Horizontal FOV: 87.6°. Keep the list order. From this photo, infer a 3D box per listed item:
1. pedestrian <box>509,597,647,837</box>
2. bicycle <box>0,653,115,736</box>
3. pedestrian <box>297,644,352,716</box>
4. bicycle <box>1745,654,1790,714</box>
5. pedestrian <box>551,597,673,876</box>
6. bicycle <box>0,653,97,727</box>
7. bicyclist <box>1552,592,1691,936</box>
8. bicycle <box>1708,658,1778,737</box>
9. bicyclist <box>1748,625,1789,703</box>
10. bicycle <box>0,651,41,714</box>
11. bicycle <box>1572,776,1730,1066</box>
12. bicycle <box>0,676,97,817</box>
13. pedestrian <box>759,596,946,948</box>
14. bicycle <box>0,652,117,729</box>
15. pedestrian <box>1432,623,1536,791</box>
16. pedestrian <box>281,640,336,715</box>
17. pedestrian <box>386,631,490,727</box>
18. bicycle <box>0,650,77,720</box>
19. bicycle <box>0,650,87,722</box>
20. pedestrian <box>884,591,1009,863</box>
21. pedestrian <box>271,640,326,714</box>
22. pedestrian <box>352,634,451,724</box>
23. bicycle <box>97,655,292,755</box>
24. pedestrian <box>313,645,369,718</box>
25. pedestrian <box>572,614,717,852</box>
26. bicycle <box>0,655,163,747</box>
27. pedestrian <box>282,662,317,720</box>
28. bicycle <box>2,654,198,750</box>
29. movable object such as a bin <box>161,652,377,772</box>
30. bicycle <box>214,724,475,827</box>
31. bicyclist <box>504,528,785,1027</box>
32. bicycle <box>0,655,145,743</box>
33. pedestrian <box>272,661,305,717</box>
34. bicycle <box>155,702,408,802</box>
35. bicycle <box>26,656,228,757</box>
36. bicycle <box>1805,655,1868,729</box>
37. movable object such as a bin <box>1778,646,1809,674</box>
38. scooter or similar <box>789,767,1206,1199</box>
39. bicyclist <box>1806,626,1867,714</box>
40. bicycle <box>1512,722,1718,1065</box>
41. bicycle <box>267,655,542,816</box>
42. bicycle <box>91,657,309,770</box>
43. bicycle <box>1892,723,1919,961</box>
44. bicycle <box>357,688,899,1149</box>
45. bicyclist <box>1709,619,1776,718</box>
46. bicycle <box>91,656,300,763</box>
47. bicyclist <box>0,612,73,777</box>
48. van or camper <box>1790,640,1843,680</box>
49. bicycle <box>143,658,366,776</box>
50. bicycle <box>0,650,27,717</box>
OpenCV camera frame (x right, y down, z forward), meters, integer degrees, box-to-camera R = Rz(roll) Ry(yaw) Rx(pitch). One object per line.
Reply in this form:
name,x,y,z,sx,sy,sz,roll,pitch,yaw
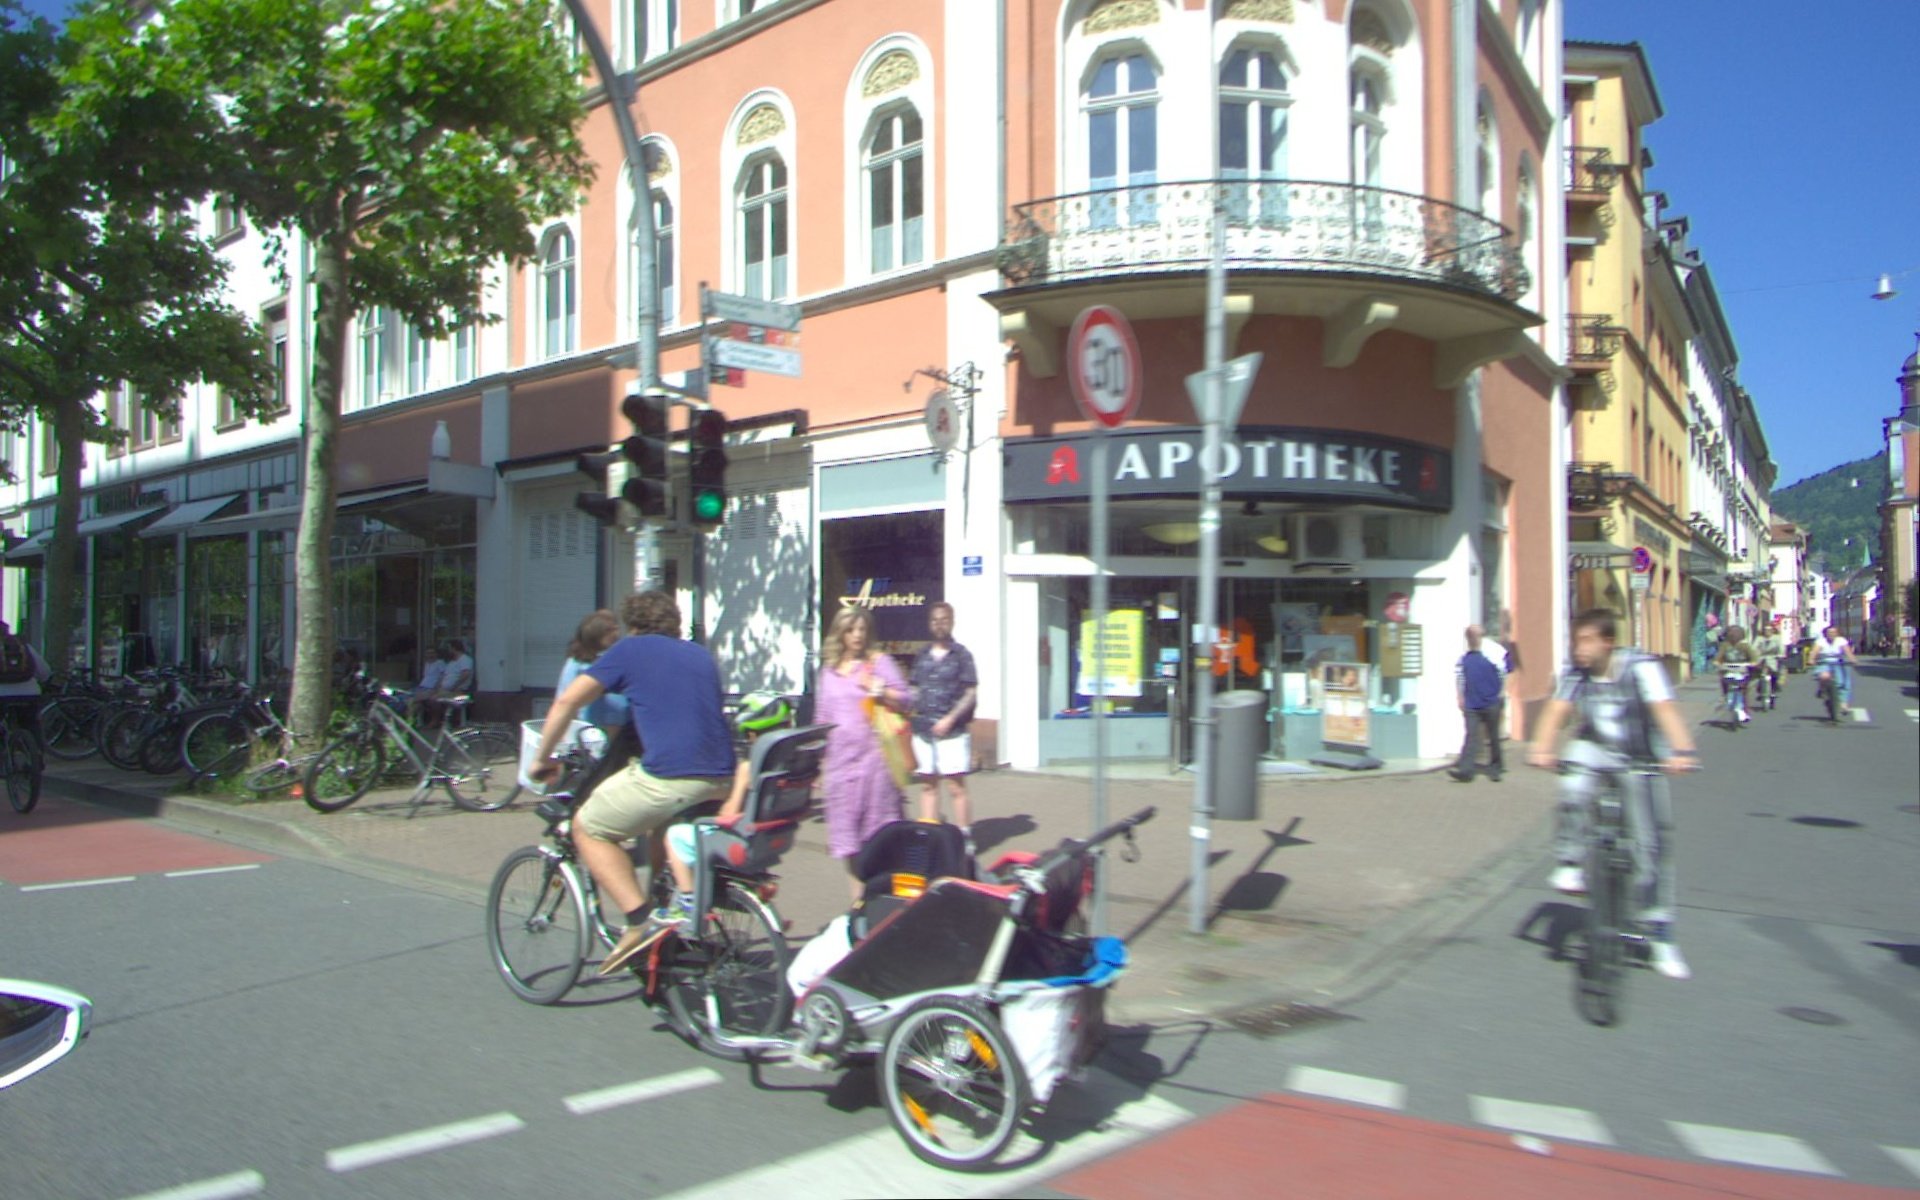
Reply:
pedestrian,-3.072,0.906,8.092,0.631,1.818,0.786,0,-2,31
bicycle,-13.385,1.335,14.346,0.670,1.141,1.836,-2,-3,35
pedestrian,-11.621,1.441,18.318,0.524,1.269,0.680,0,0,30
bicycle,16.621,1.697,20.587,0.621,1.141,2.553,0,-2,41
pedestrian,-2.396,0.903,6.905,0.599,1.817,0.452,0,-3,31
bicycle,-14.881,1.419,15.809,0.525,1.140,1.830,-3,-5,45
bicyclist,3.066,0.697,4.660,0.494,1.429,0.857,0,-1,34
bicycle,13.195,1.598,16.841,0.762,1.141,2.553,-3,-3,41
bicyclist,16.562,1.301,20.511,0.621,1.549,0.882,0,-1,41
bicycle,-17.591,1.487,18.044,0.439,1.141,1.847,-1,-3,-4
bicycle,3.132,1.339,4.592,0.494,0.855,1.818,-1,-3,33
bicycle,-8.810,1.285,9.169,2.050,1.140,0.698,-1,-4,30
pedestrian,-0.570,0.886,5.441,0.778,1.729,0.639,-3,-5,30
bicycle,-14.301,1.380,15.410,1.973,1.141,0.754,2,-3,-45
pedestrian,5.588,1.105,10.680,0.781,1.680,0.636,2,0,43
pedestrian,-12.084,1.424,18.590,0.524,1.355,0.680,0,-1,31
pedestrian,-8.554,1.273,16.455,0.825,1.502,1.251,-1,-3,30
bicycle,-15.874,1.409,16.562,0.442,1.141,1.835,-2,-3,35
bicycle,-15.486,1.401,16.329,0.442,1.141,1.835,-2,-3,35
pedestrian,-0.094,0.897,7.343,0.608,1.865,0.636,-2,-4,45
pedestrian,-12.533,1.446,18.981,0.524,1.349,0.680,0,-2,31
pedestrian,-9.348,1.304,16.790,0.778,1.440,1.231,-2,-2,30
bicycle,-9.570,1.277,12.597,0.658,1.141,1.835,-2,-3,35
pedestrian,-11.121,1.452,18.004,0.600,1.269,0.638,-2,-1,30
pedestrian,-2.417,0.983,7.718,0.631,1.711,0.787,0,-3,31
bicycle,-11.927,1.322,13.425,0.658,1.141,1.835,-2,-3,35
pedestrian,-11.565,1.580,17.528,0.431,0.980,0.364,0,-2,35
bicycle,-11.190,1.291,13.090,0.658,1.141,1.835,-2,-3,35
movable object such as a bin,-7.541,1.206,10.996,1.839,1.203,0.647,5,-4,-42
bicycle,-5.938,1.693,9.757,1.823,0.440,1.137,-9,6,8
bicyclist,-1.220,0.617,3.919,0.763,1.695,0.730,-1,-1,31
bicycle,-12.483,1.339,13.822,0.523,1.141,1.836,-2,-3,34
pedestrian,-12.058,1.583,17.976,0.431,0.980,0.340,0,-2,35
bicycle,-6.722,1.557,10.000,1.021,0.395,1.850,-40,-31,23
bicycle,-10.339,1.278,12.505,0.635,1.141,1.835,-2,-3,35
bicycle,15.107,1.546,17.276,0.764,1.141,2.553,0,-2,41
movable object such as a bin,34.467,2.469,41.413,0.955,1.162,1.255,-1,-2,39
scooter or similar,0.147,1.146,3.228,1.108,1.073,0.784,0,-3,26
bicyclist,15.075,1.179,17.238,0.764,1.449,1.250,0,-2,41
bicycle,3.111,1.210,4.693,0.658,1.141,1.834,-2,-3,37
bicycle,-4.562,1.127,8.385,1.826,1.203,0.715,5,-2,-19
bicycle,-8.431,1.216,11.183,0.659,1.141,1.832,-2,-3,40
bicycle,4.583,1.173,4.011,0.618,1.141,2.564,1,-2,29
bicycle,-1.394,1.061,3.999,2.248,1.285,0.731,1,-2,31
bicyclist,13.083,1.125,16.740,0.762,1.576,1.215,-3,-2,41
bicycle,-8.947,1.242,11.798,0.658,1.141,1.835,-2,-3,35
bicyclist,-8.843,0.854,9.209,0.946,1.463,0.698,-1,-4,30
van or camper,45.229,3.139,52.859,1.978,2.039,3.967,-1,-3,42
bicycle,-7.341,1.209,10.501,1.828,1.141,0.342,5,-3,-42
bicycle,-17.126,1.429,16.986,1.819,1.141,0.446,1,-2,-29
